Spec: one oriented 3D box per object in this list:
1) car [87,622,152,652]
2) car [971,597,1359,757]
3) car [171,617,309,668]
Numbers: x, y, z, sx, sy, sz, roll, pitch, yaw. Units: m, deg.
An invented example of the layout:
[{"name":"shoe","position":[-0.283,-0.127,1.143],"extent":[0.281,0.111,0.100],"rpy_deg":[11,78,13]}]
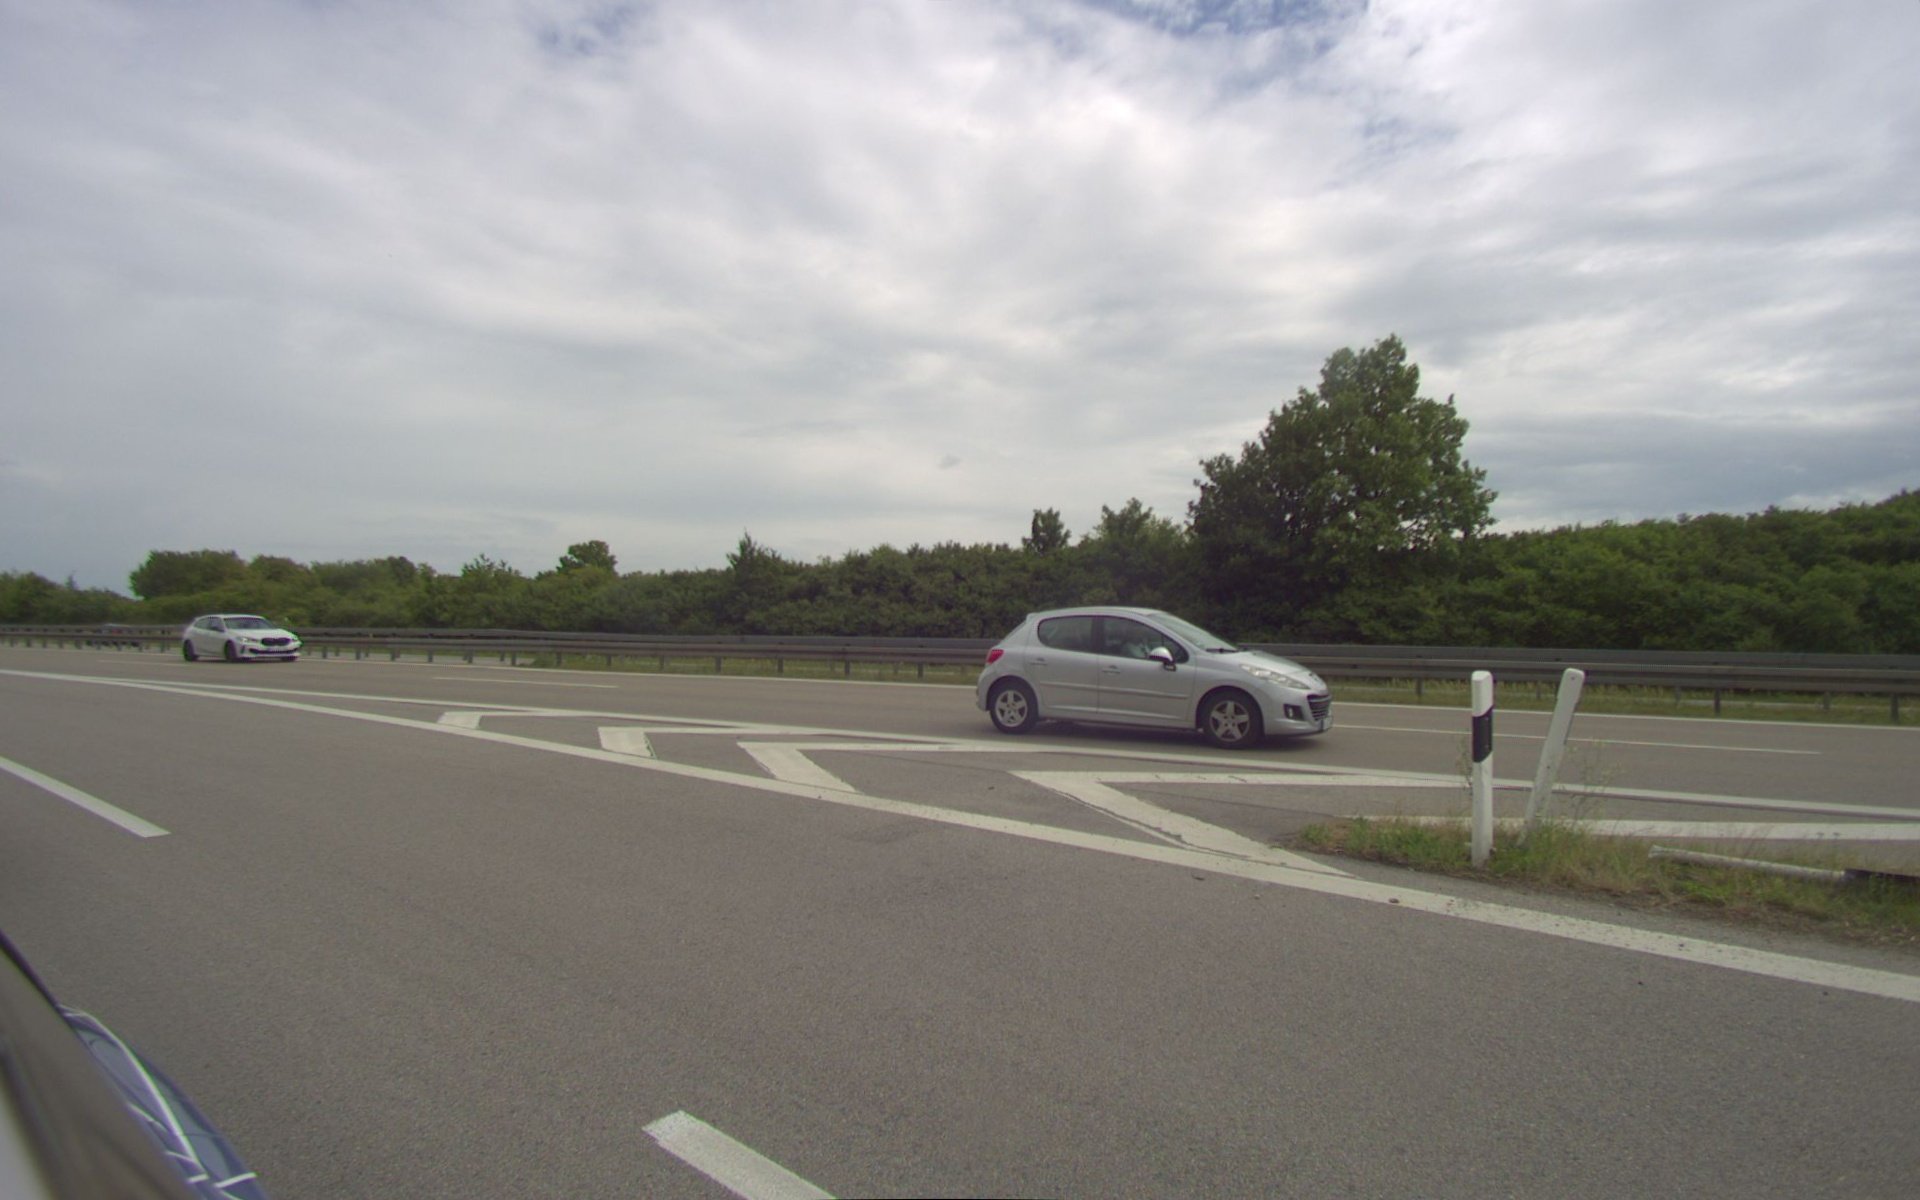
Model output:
[{"name":"car","position":[-53.909,2.362,64.908],"extent":[3.985,1.816,1.979],"rpy_deg":[-1,-2,31]},{"name":"car","position":[2.262,0.778,11.445],"extent":[3.985,1.530,1.705],"rpy_deg":[-1,-2,31]},{"name":"car","position":[-22.238,1.268,31.228],"extent":[4.361,1.464,1.823],"rpy_deg":[-1,-2,30]}]
